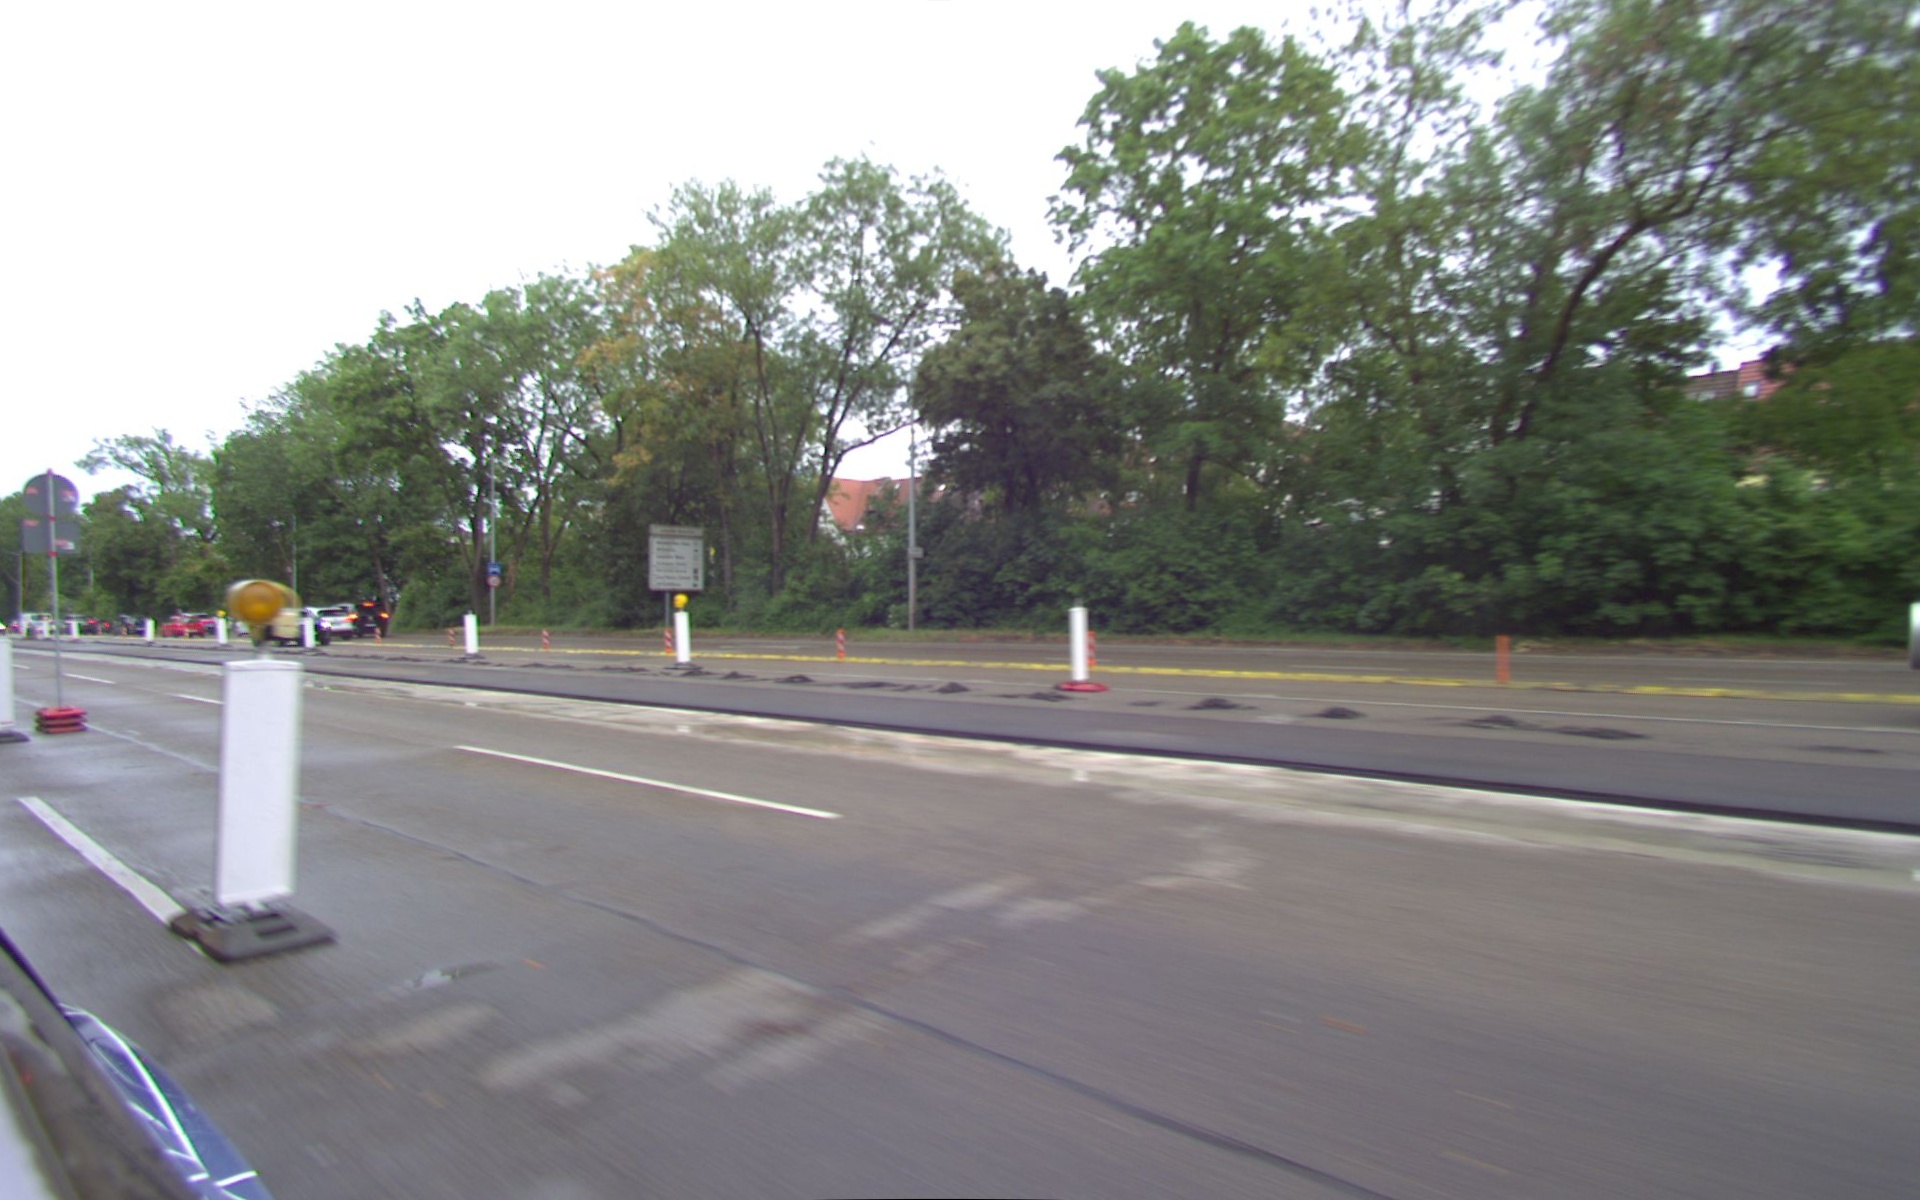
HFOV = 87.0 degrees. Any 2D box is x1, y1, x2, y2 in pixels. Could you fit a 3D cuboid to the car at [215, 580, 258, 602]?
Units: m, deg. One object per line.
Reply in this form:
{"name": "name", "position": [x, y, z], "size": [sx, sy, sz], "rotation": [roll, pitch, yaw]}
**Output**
{"name": "car", "position": [-57.441, -0.707, 80.329], "size": [4.414, 1.639, 1.686], "rotation": [-2, 0, 39]}

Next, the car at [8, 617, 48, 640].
{"name": "car", "position": [-87.236, 2.661, 94.709], "size": [4.895, 1.987, 1.975], "rotation": [-2, 0, 37]}

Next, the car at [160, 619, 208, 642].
{"name": "car", "position": [-50.637, 1.985, 66.043], "size": [4.009, 1.411, 1.662], "rotation": [-1, 0, 40]}

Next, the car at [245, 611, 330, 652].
{"name": "car", "position": [-29.667, 1.370, 44.607], "size": [4.810, 1.641, 1.972], "rotation": [-1, 0, 42]}

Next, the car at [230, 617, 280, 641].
{"name": "car", "position": [-45.437, 1.878, 65.200], "size": [4.146, 1.508, 1.662], "rotation": [-1, -2, 40]}

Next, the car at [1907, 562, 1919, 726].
{"name": "car", "position": [11.408, 0.346, 8.939], "size": [4.363, 1.576, 1.868], "rotation": [-2, 0, 43]}

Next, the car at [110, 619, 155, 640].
{"name": "car", "position": [-60.834, 2.161, 74.367], "size": [4.193, 1.499, 1.759], "rotation": [-2, 0, 40]}

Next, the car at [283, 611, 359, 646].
{"name": "car", "position": [-32.632, 1.449, 51.591], "size": [4.889, 1.674, 1.871], "rotation": [-1, 0, 40]}

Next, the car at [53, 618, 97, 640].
{"name": "car", "position": [-74.069, 2.445, 84.657], "size": [5.008, 1.738, 2.001], "rotation": [-2, 0, 40]}
